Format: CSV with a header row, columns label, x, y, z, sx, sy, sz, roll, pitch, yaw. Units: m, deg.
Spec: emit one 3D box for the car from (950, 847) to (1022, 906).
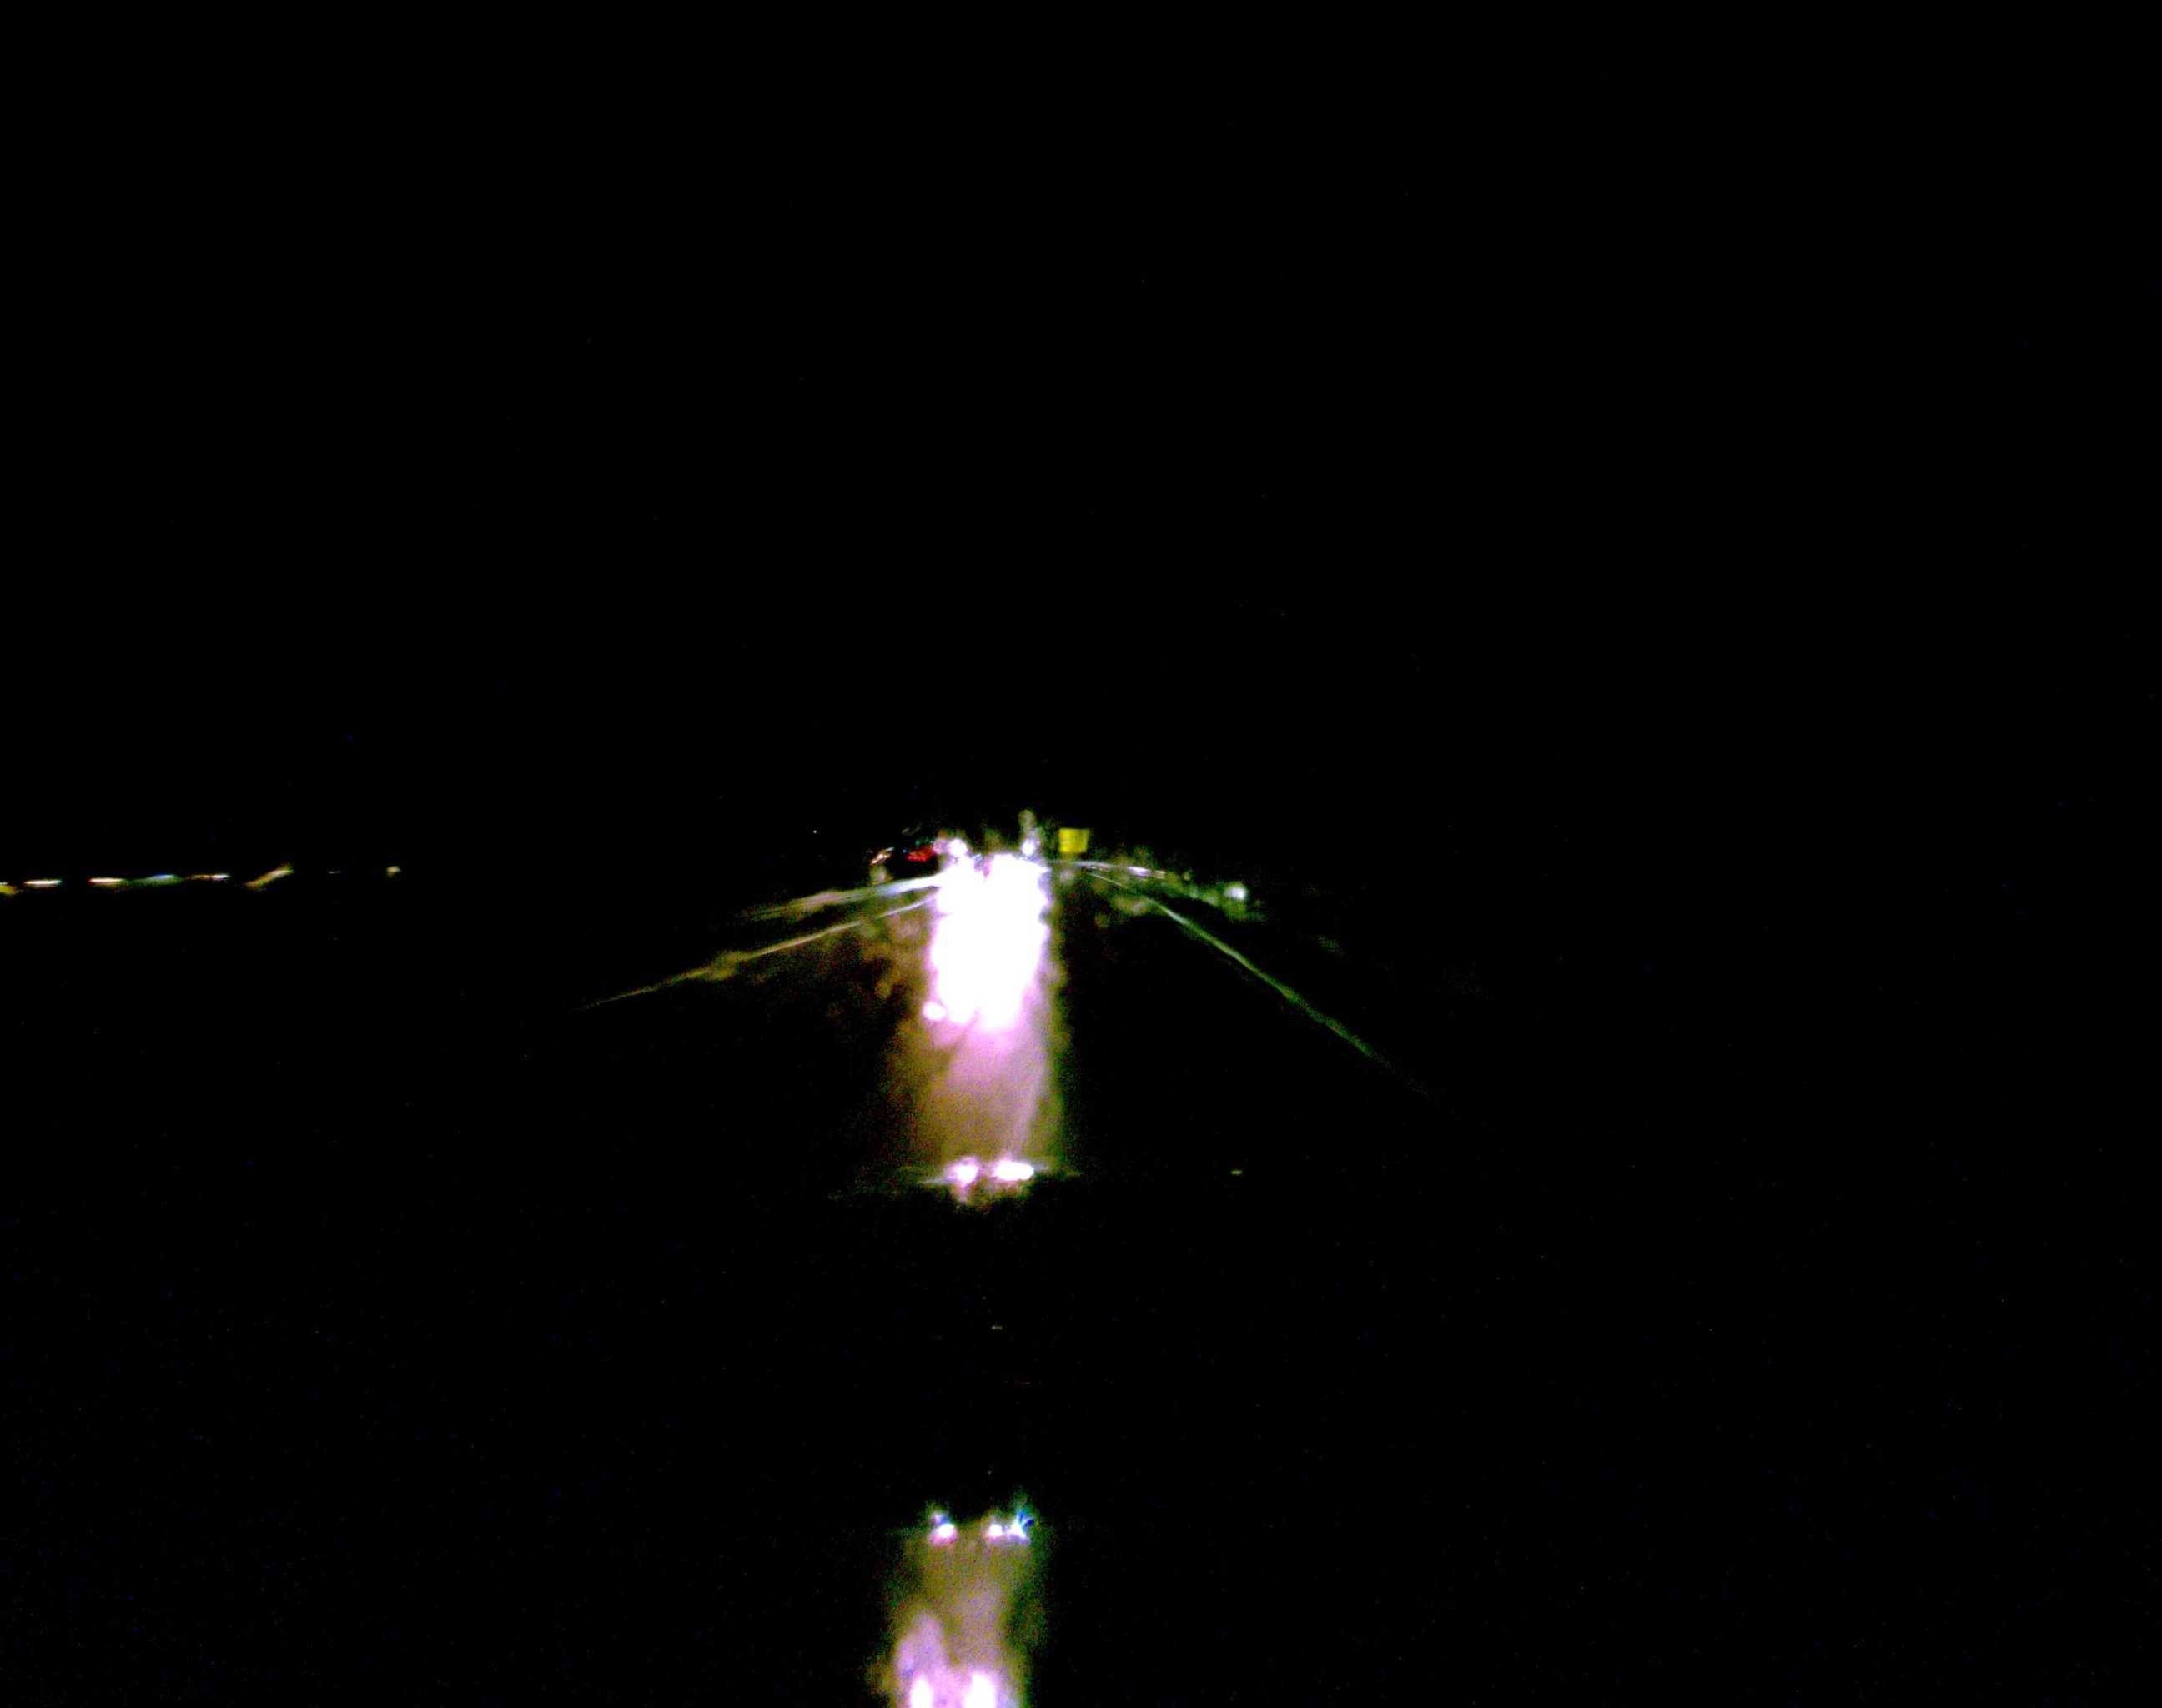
label,x,y,z,sx,sy,sz,roll,pitch,yaw
car,-2.975,0.655,26.379,1.783,1.623,4.375,-2,2,-1
